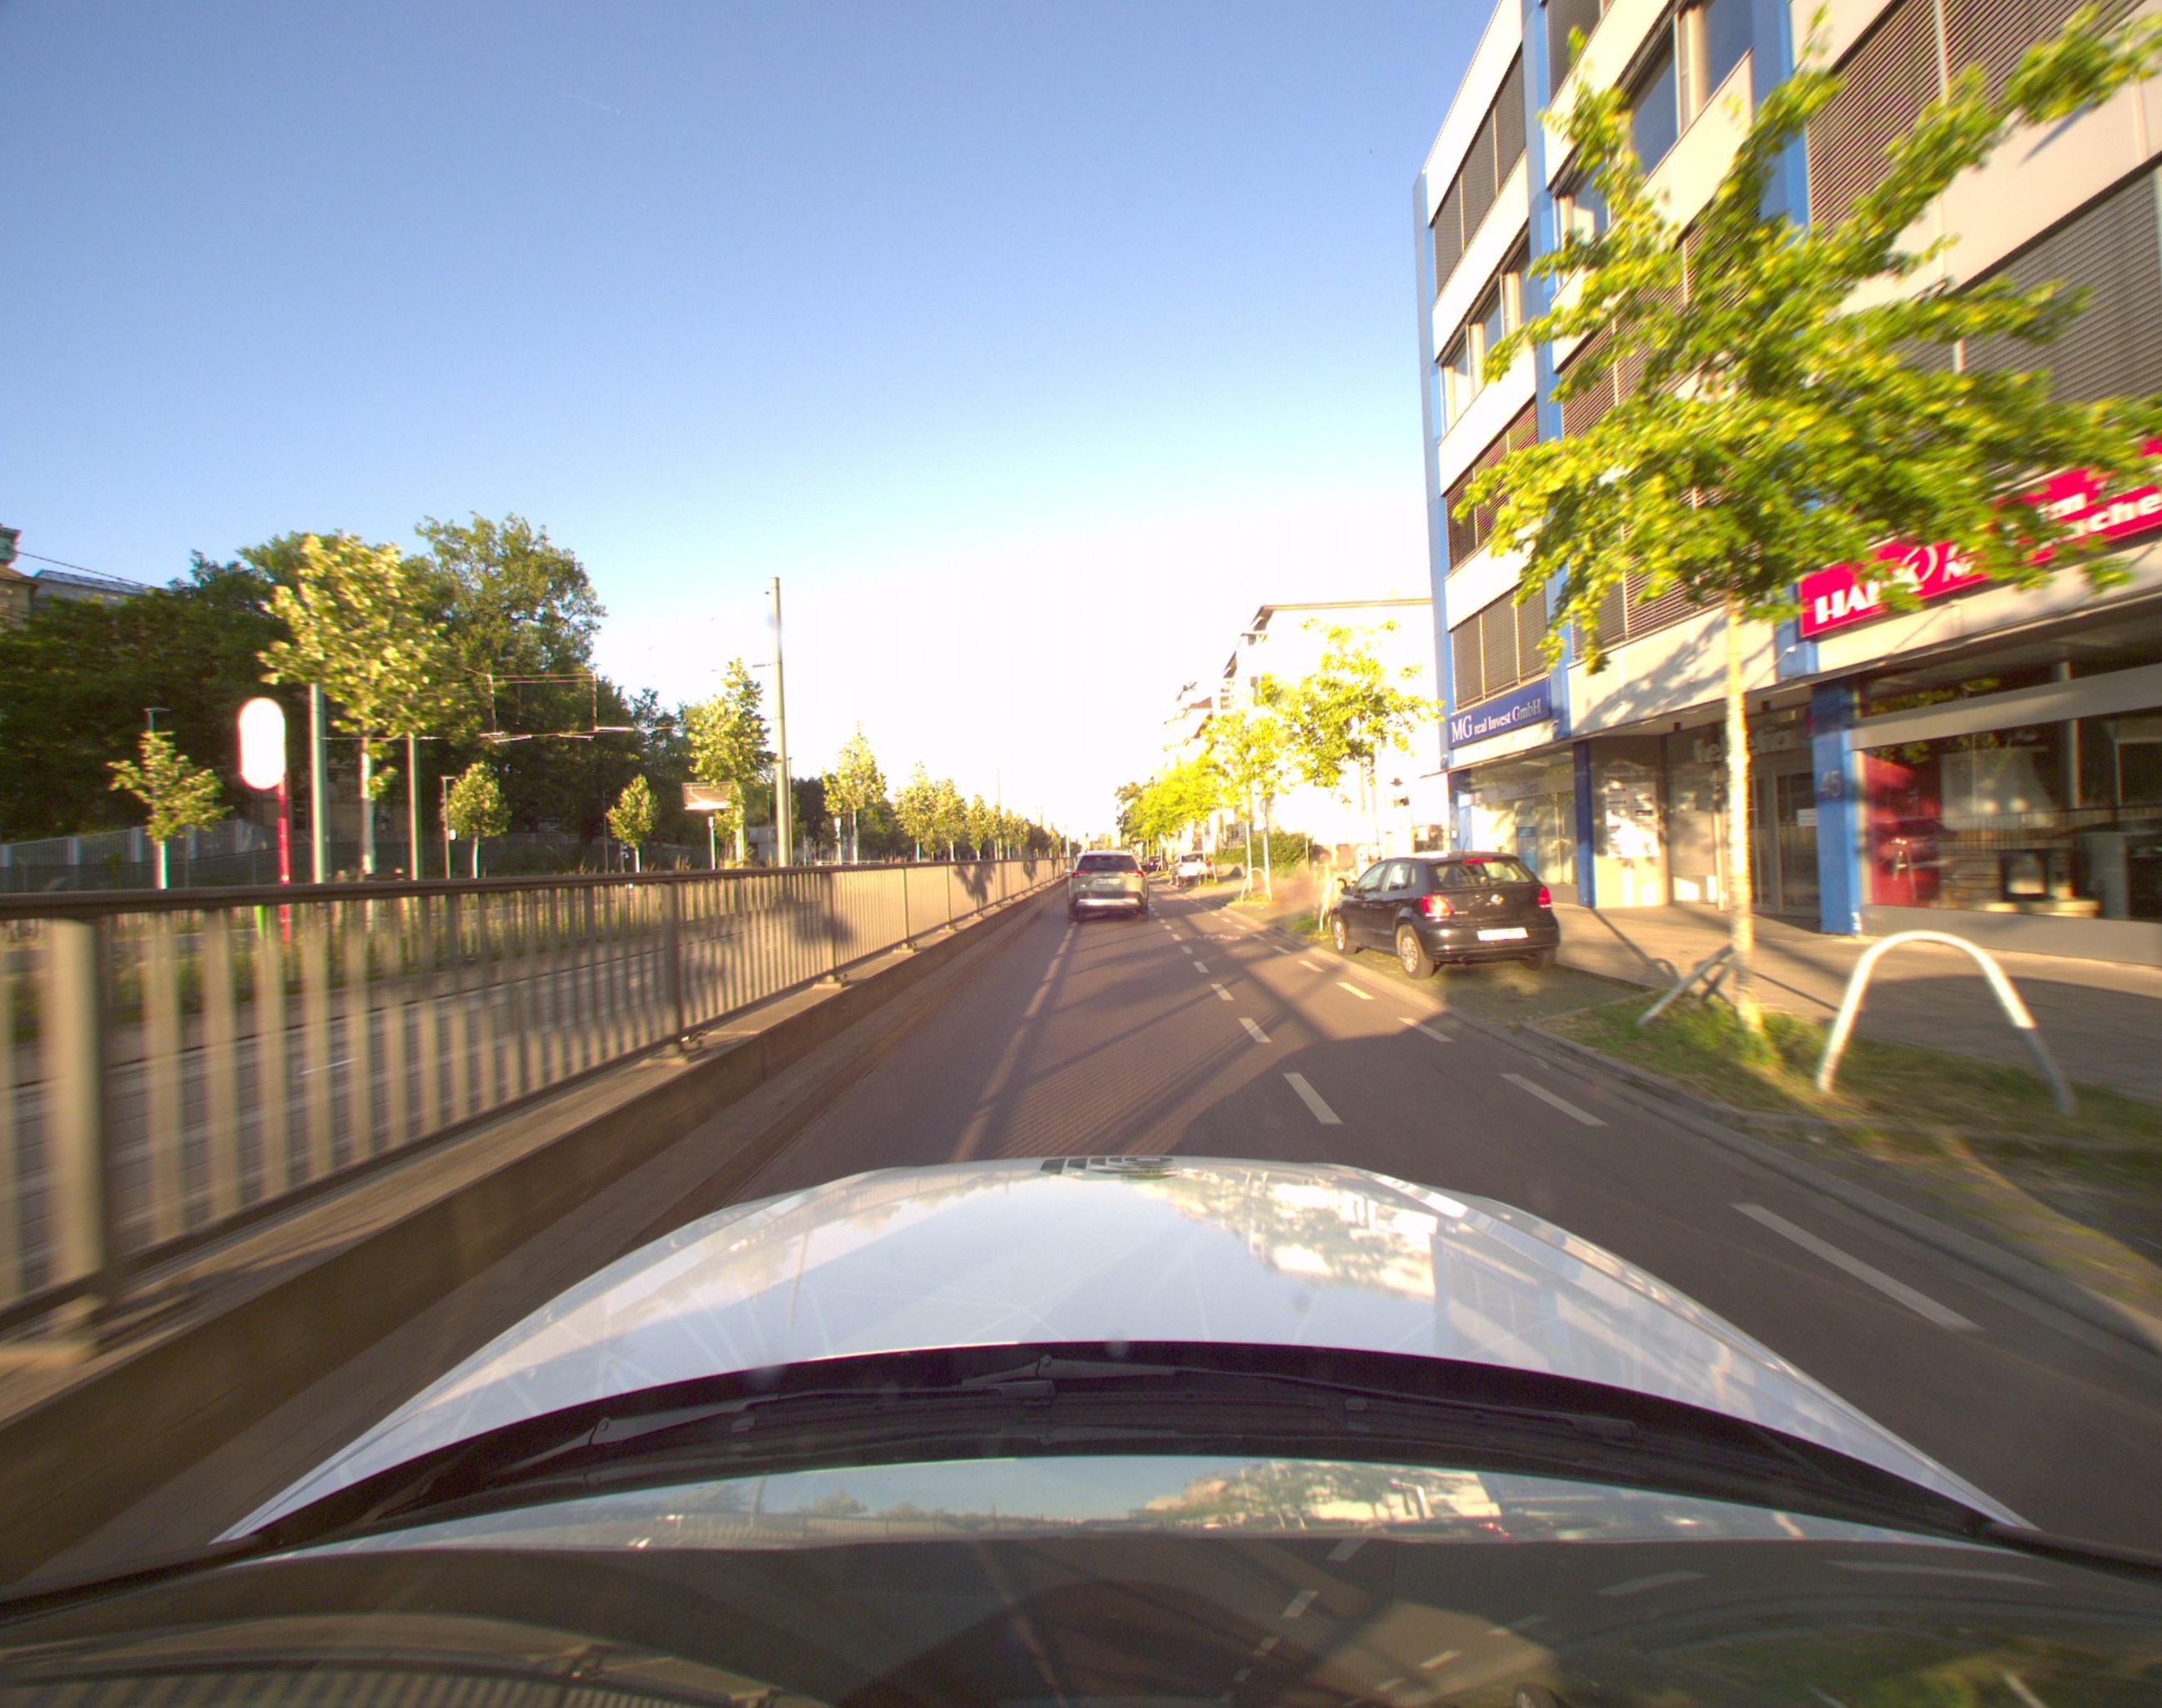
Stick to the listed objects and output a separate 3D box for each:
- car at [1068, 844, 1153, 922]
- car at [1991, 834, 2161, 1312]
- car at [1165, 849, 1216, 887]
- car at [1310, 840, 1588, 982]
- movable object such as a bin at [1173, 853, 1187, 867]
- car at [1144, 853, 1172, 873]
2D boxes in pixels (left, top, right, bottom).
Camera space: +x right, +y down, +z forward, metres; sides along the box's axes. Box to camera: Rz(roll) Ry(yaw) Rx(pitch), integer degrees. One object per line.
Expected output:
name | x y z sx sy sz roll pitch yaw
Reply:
car | 0.649 0.650 19.956 1.852 1.714 4.191 0 0 0
car | 4.102 0.631 0.848 1.677 1.454 4.130 -3 0 1
car | 5.331 0.634 40.074 1.848 1.706 4.253 -2 0 0
car | 4.608 0.635 10.977 1.813 1.454 4.128 -3 0 0
movable object such as a bin | 10.337 0.607 85.285 1.256 1.462 1.123 -2 -1 -2
car | 6.532 0.723 69.412 1.787 1.471 4.443 -5 0 -1
